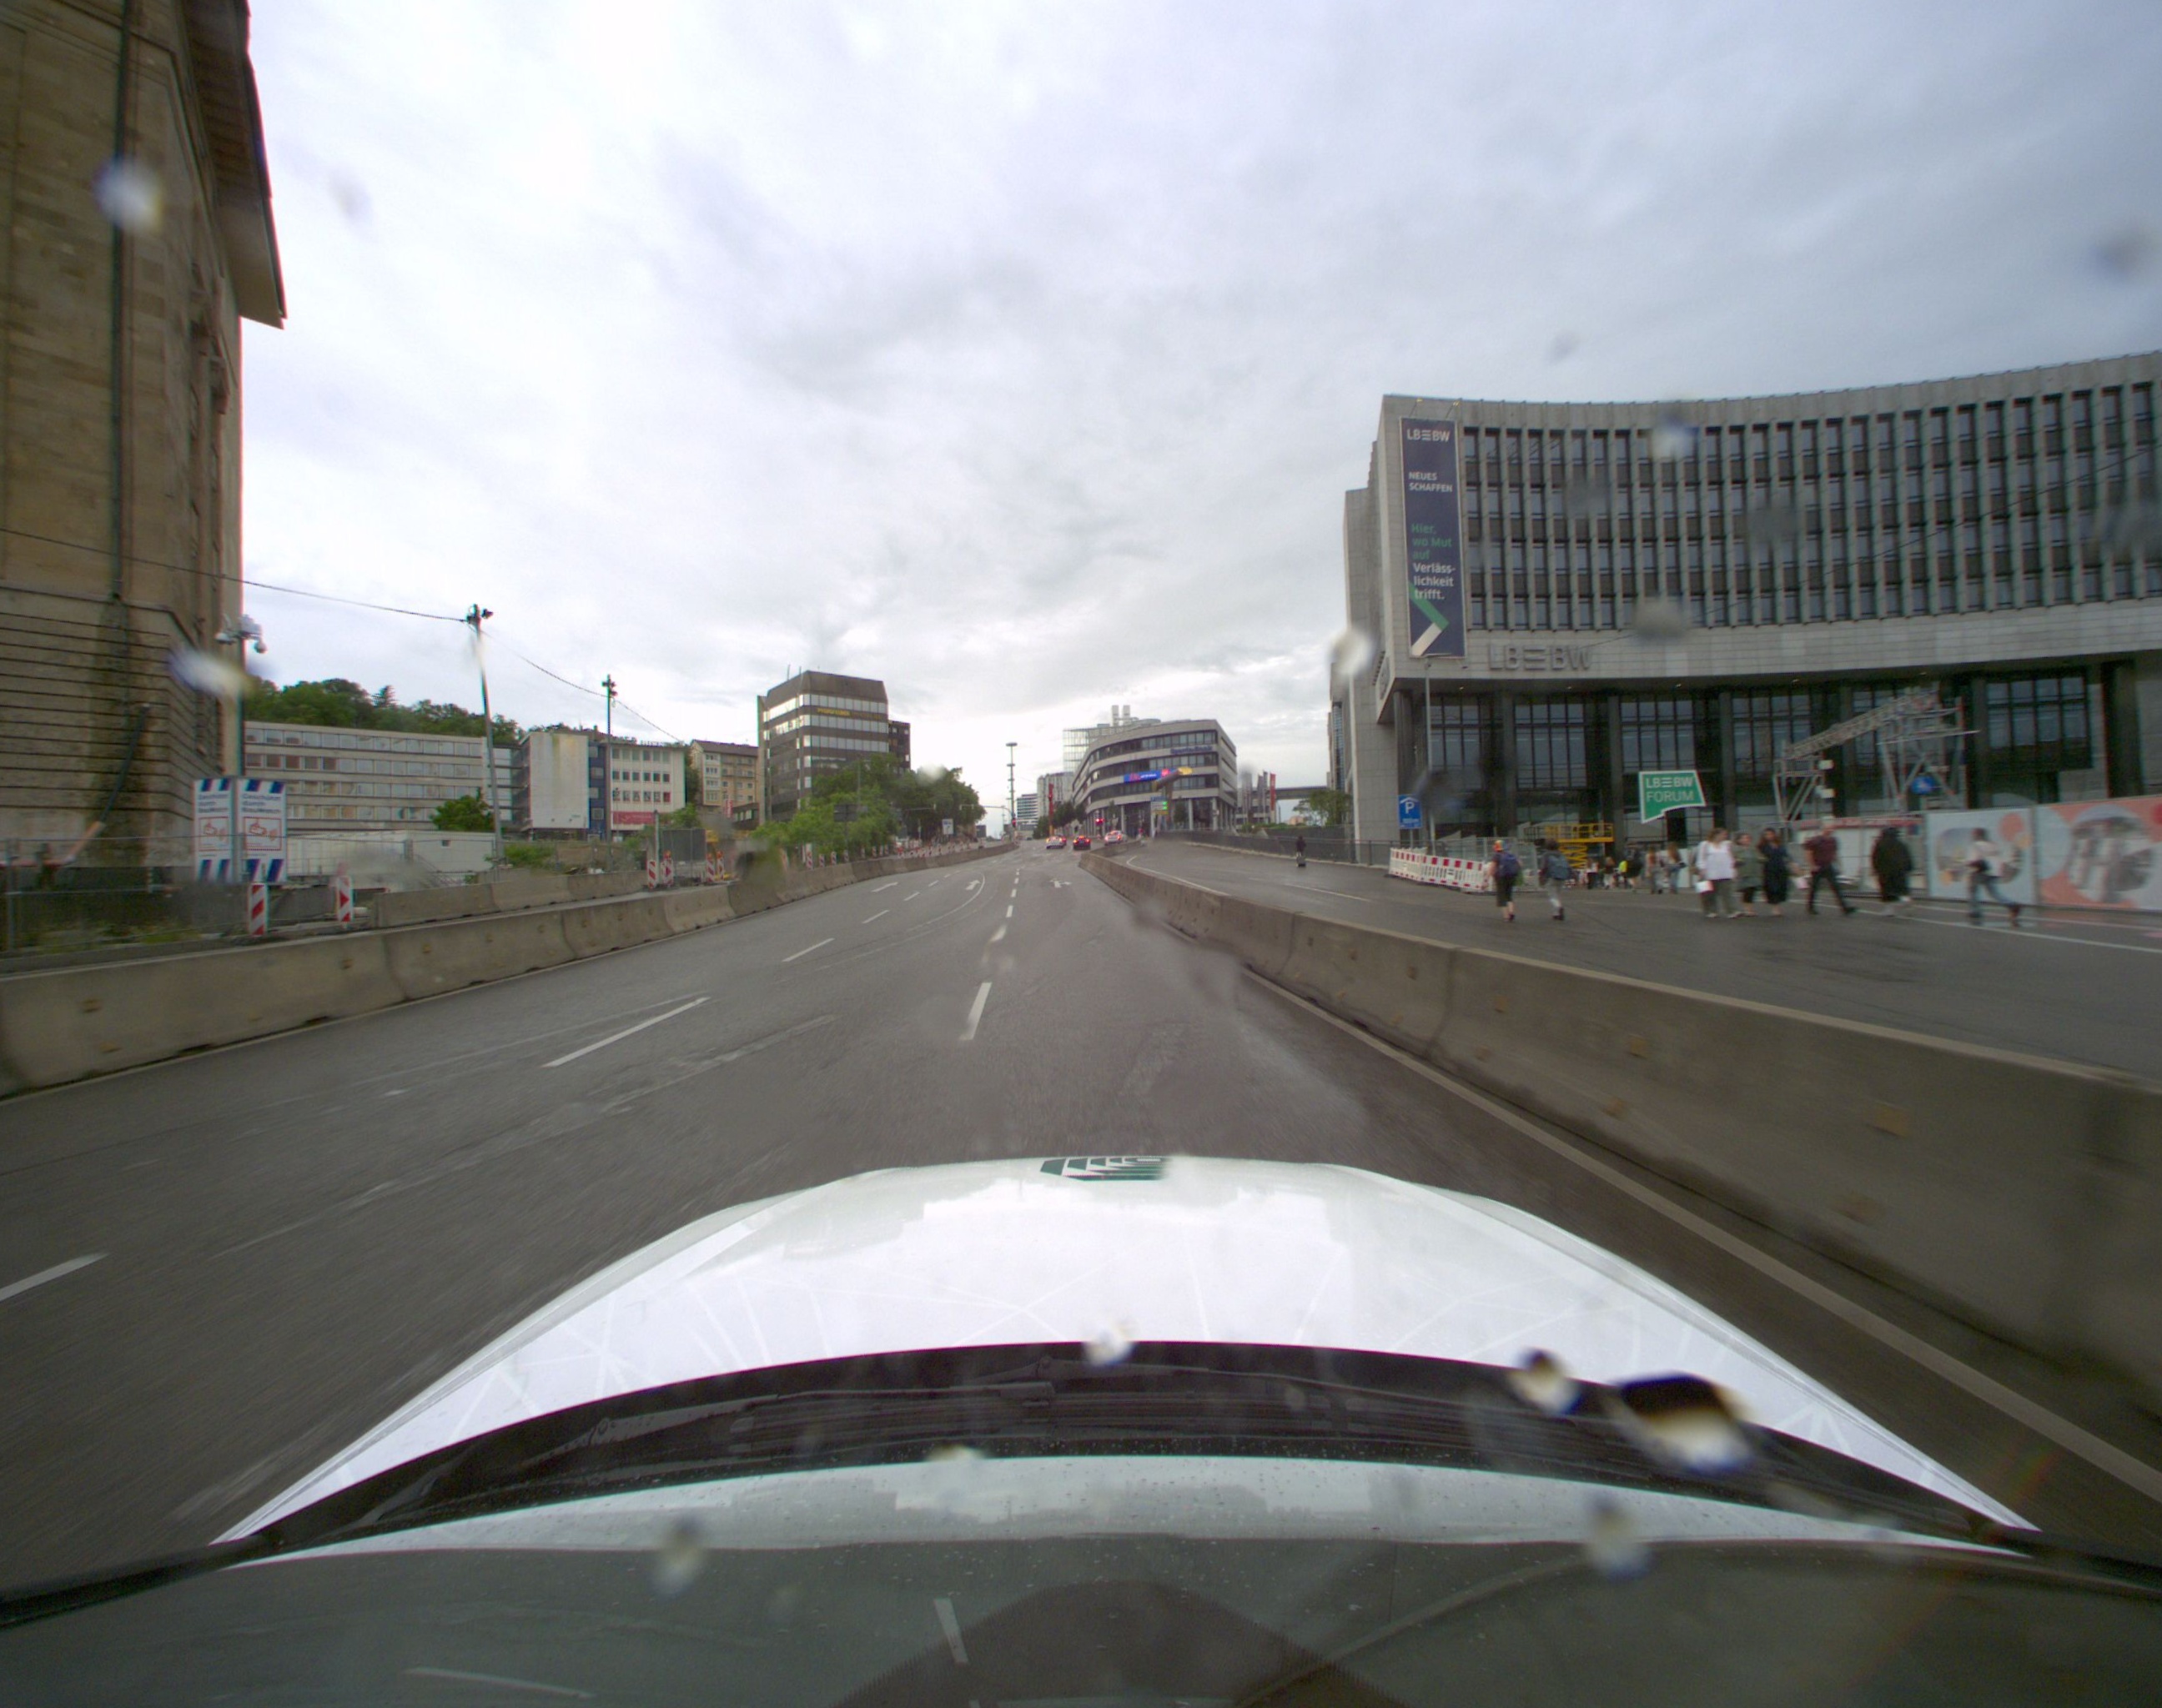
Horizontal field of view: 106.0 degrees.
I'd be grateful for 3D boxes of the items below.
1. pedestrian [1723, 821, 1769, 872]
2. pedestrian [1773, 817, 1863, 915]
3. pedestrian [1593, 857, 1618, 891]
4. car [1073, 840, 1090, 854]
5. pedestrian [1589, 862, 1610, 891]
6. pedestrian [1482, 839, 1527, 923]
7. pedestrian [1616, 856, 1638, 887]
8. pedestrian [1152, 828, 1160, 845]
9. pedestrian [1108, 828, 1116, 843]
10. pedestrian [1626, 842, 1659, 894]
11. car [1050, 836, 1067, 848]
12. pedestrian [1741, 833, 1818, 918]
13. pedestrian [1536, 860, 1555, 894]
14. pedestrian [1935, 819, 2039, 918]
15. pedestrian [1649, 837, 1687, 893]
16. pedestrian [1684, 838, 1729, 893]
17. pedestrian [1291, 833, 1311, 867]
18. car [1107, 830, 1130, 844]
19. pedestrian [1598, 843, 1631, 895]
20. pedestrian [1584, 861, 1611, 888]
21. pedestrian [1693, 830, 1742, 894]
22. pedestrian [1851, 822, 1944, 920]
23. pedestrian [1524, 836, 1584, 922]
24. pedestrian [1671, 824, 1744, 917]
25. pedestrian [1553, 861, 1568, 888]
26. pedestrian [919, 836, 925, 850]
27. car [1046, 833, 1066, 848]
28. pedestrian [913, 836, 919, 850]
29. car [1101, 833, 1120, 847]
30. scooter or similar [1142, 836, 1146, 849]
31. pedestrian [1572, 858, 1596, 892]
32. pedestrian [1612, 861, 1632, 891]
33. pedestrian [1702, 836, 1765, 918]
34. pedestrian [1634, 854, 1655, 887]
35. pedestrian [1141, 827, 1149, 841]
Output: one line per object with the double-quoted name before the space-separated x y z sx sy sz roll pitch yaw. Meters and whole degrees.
"pedestrian" 20.971 -0.243 25.701 0.858 1.553 1.014 -2 -1 25
"pedestrian" 14.193 0.228 15.719 0.859 1.818 1.012 -2 -1 15
"pedestrian" 25.942 1.007 40.294 0.858 1.637 1.014 -2 -1 25
"car" 0.040 -0.721 85.234 1.749 1.407 4.226 0 0 -1
"pedestrian" 30.452 1.306 47.842 0.858 1.637 1.014 -2 -1 40
"pedestrian" 8.253 0.507 15.901 0.725 1.575 0.809 0 0 24
"pedestrian" 28.999 0.936 43.291 0.656 1.637 0.733 -1 -1 -35
"pedestrian" 7.918 -1.849 85.961 0.728 1.711 0.842 -2 -1 -5
"pedestrian" 4.489 -2.660 116.861 0.857 2.098 0.896 0 1 -27
"pedestrian" 18.111 0.439 26.287 0.691 1.637 0.921 -2 -1 25
"car" -2.718 -1.492 98.774 1.738 1.443 3.991 -2 1 -7
"pedestrian" 13.311 0.401 15.550 0.709 1.553 1.012 -2 -1 16
"pedestrian" 22.940 1.135 40.239 0.580 1.637 0.756 -3 -1 44
"pedestrian" 16.078 0.262 14.487 0.858 1.689 1.014 -2 -1 25
"pedestrian" 18.966 0.353 26.322 0.764 1.783 1.014 -2 -1 25
"pedestrian" 19.198 0.353 25.013 0.858 1.637 1.014 -2 -1 25
"pedestrian" 10.854 -0.208 40.193 0.723 1.652 1.067 -2 0 24
"car" 4.613 -2.148 100.589 1.758 1.634 4.601 -1 2 16
"pedestrian" 17.488 0.487 26.709 0.717 1.637 0.921 -2 -1 25
"pedestrian" 31.795 1.268 50.144 1.004 1.637 0.867 -2 -1 -7
"pedestrian" 18.254 0.233 23.373 0.858 1.781 1.014 -2 -1 25
"pedestrian" 14.957 0.304 14.950 0.858 1.725 1.014 -2 -1 25
"pedestrian" 9.169 0.481 15.809 0.852 1.593 0.958 -2 -1 24
"pedestrian" 12.036 0.306 15.675 0.771 1.723 0.895 -2 -1 15
"pedestrian" 28.619 1.230 48.570 0.697 1.616 0.569 -2 -1 29
"pedestrian" -22.847 -1.602 116.691 0.670 1.901 0.775 -2 -1 -2
"car" -2.780 -1.505 90.020 1.957 1.548 4.220 -2 2 1
"pedestrian" -23.634 -1.582 116.701 0.759 1.922 0.741 -2 -1 -2
"car" 3.321 -1.575 92.068 1.696 1.451 4.612 -1 1 -2
"scooter or similar" 6.102 -1.119 78.957 0.347 1.162 0.575 -2 0 11
"pedestrian" 25.152 1.042 40.744 0.858 1.637 1.014 -2 -1 25
"pedestrian" 31.010 1.261 46.703 0.858 1.637 1.014 -2 -1 30
"pedestrian" 12.678 0.438 15.851 0.604 1.522 0.889 -2 -1 16
"pedestrian" 31.345 0.909 45.304 0.644 1.816 0.748 -1 -1 -35
"pedestrian" 8.967 -2.800 114.348 0.833 1.904 0.866 -2 -1 22
